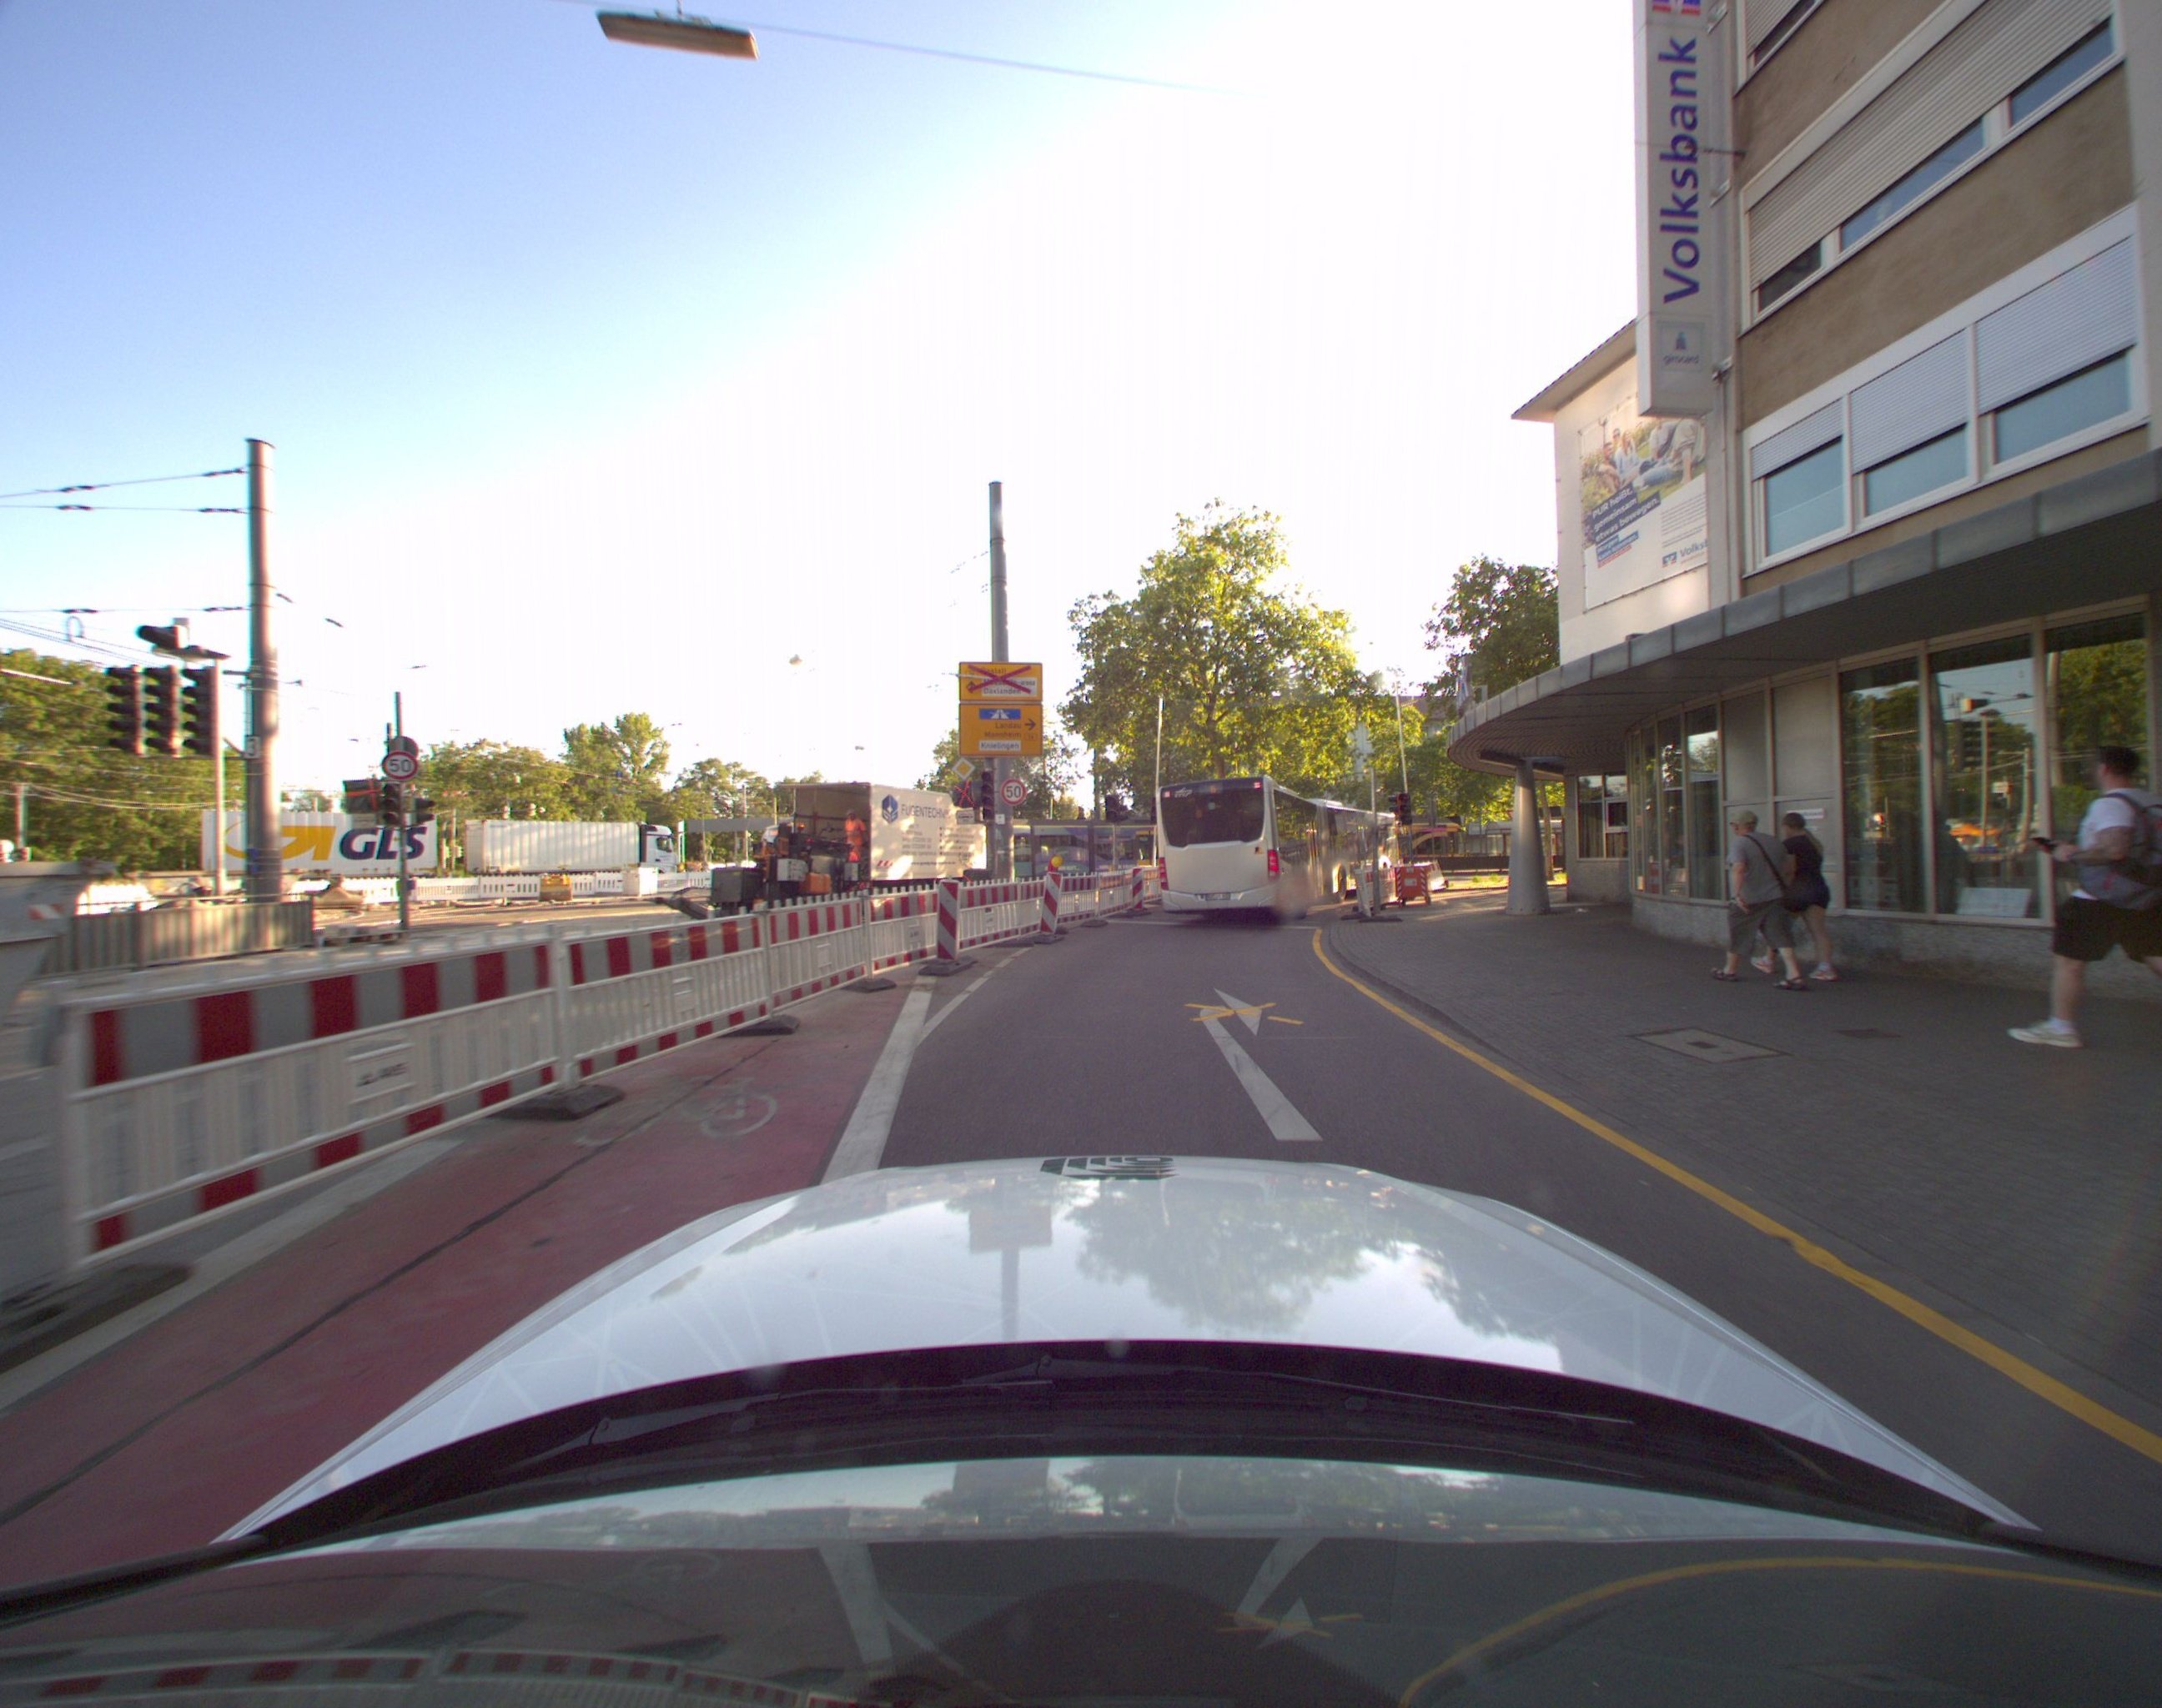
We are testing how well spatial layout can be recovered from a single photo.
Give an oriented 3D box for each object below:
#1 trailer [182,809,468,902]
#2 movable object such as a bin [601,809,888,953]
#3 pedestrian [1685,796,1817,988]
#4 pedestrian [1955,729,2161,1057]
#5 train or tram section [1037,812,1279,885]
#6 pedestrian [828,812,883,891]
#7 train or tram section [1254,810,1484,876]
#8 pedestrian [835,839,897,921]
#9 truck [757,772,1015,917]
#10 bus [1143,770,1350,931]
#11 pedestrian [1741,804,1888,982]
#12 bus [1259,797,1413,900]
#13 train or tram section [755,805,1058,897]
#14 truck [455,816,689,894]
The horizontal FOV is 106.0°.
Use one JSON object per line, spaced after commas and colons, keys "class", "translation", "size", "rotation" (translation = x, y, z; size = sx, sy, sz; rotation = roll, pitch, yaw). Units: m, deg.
{"class": "trailer", "translation": [-33.836, -0.004, 37.165], "size": [9.293, 3.797, 2.863], "rotation": [0, 1, -39]}
{"class": "movable object such as a bin", "translation": [-6.055, 0.390, 15.547], "size": [1.976, 2.256, 5.235], "rotation": [0, 1, 21]}
{"class": "pedestrian", "translation": [6.323, 0.340, 7.715], "size": [0.582, 1.708, 0.678], "rotation": [-4, 0, -6]}
{"class": "pedestrian", "translation": [6.489, 0.194, 5.040], "size": [0.836, 1.869, 1.097], "rotation": [-5, 0, -6]}
{"class": "train or tram section", "translation": [4.194, -0.310, 43.022], "size": [12.784, 3.549, 2.719], "rotation": [-1, -1, -20]}
{"class": "pedestrian", "translation": [-5.885, -0.073, 21.312], "size": [0.928, 2.013, 1.006], "rotation": [-1, 1, 20]}
{"class": "train or tram section", "translation": [16.678, -0.664, 46.977], "size": [13.311, 3.519, 2.636], "rotation": [-1, -1, -15]}
{"class": "pedestrian", "translation": [-4.872, 0.571, 18.543], "size": [0.966, 1.798, 1.073], "rotation": [-1, 0, 11]}
{"class": "truck", "translation": [-5.316, -0.253, 24.640], "size": [2.787, 3.541, 9.031], "rotation": [-1, 0, 22]}
{"class": "bus", "translation": [4.868, -0.126, 21.269], "size": [2.708, 3.139, 10.766], "rotation": [-1, 0, 25]}
{"class": "pedestrian", "translation": [6.974, 0.343, 7.774], "size": [0.632, 1.573, 0.773], "rotation": [-4, 1, -6]}
{"class": "bus", "translation": [9.385, -0.216, 29.081], "size": [2.682, 3.107, 9.037], "rotation": [-1, 0, 34]}
{"class": "train or tram section", "translation": [-7.235, -0.148, 36.482], "size": [13.462, 3.533, 2.826], "rotation": [0, -1, -39]}
{"class": "truck", "translation": [-27.377, 0.051, 44.562], "size": [2.863, 3.790, 10.500], "rotation": [-1, 0, 36]}
